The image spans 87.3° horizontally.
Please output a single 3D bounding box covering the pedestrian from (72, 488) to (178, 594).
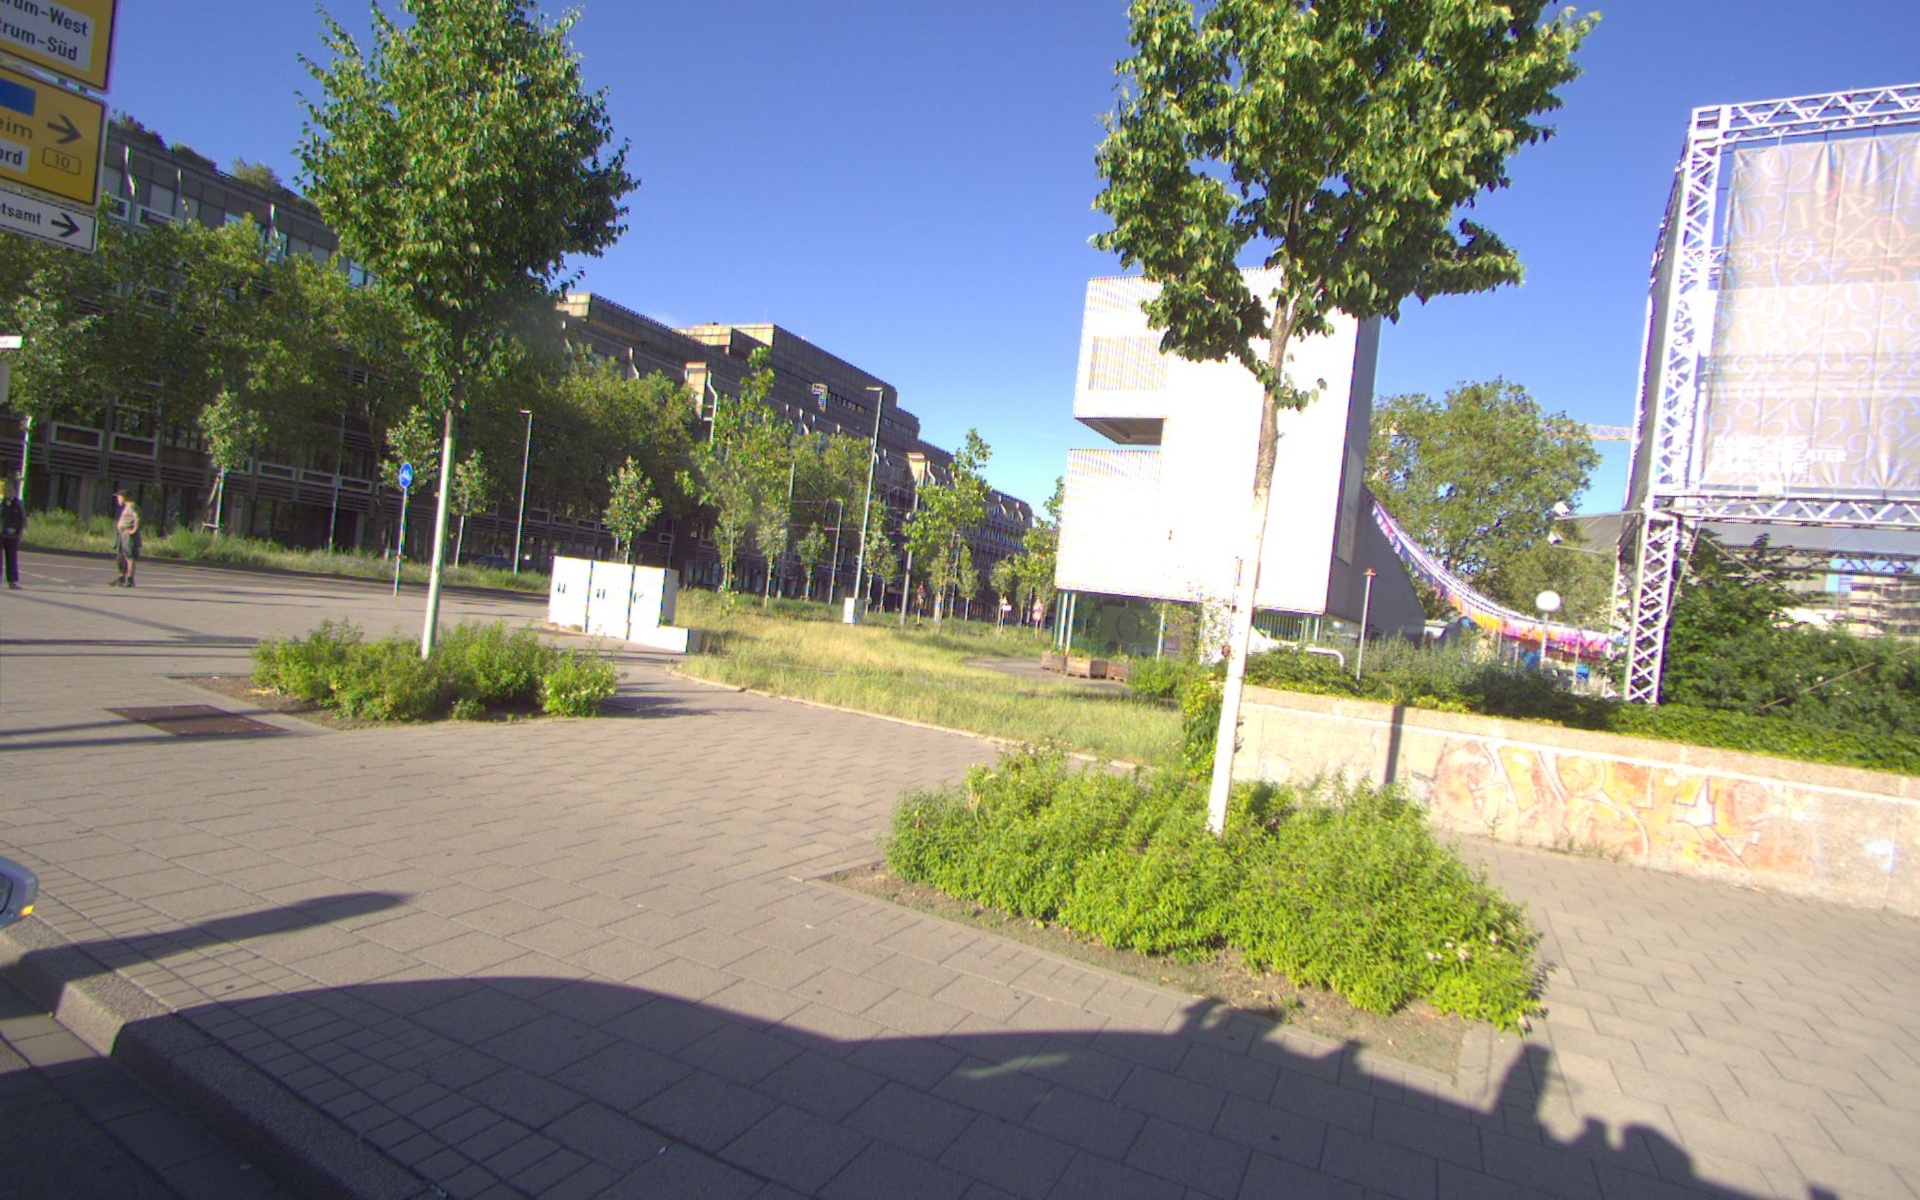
[{"bbox_3d":[-14.875,-1.031,17.941,0.946,1.684,0.882,7,-1,11],"label":"pedestrian"}]

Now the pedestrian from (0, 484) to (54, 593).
[{"bbox_3d":[-14.042,-0.924,14.785,0.633,1.510,0.789,6,-1,31],"label":"pedestrian"}]
